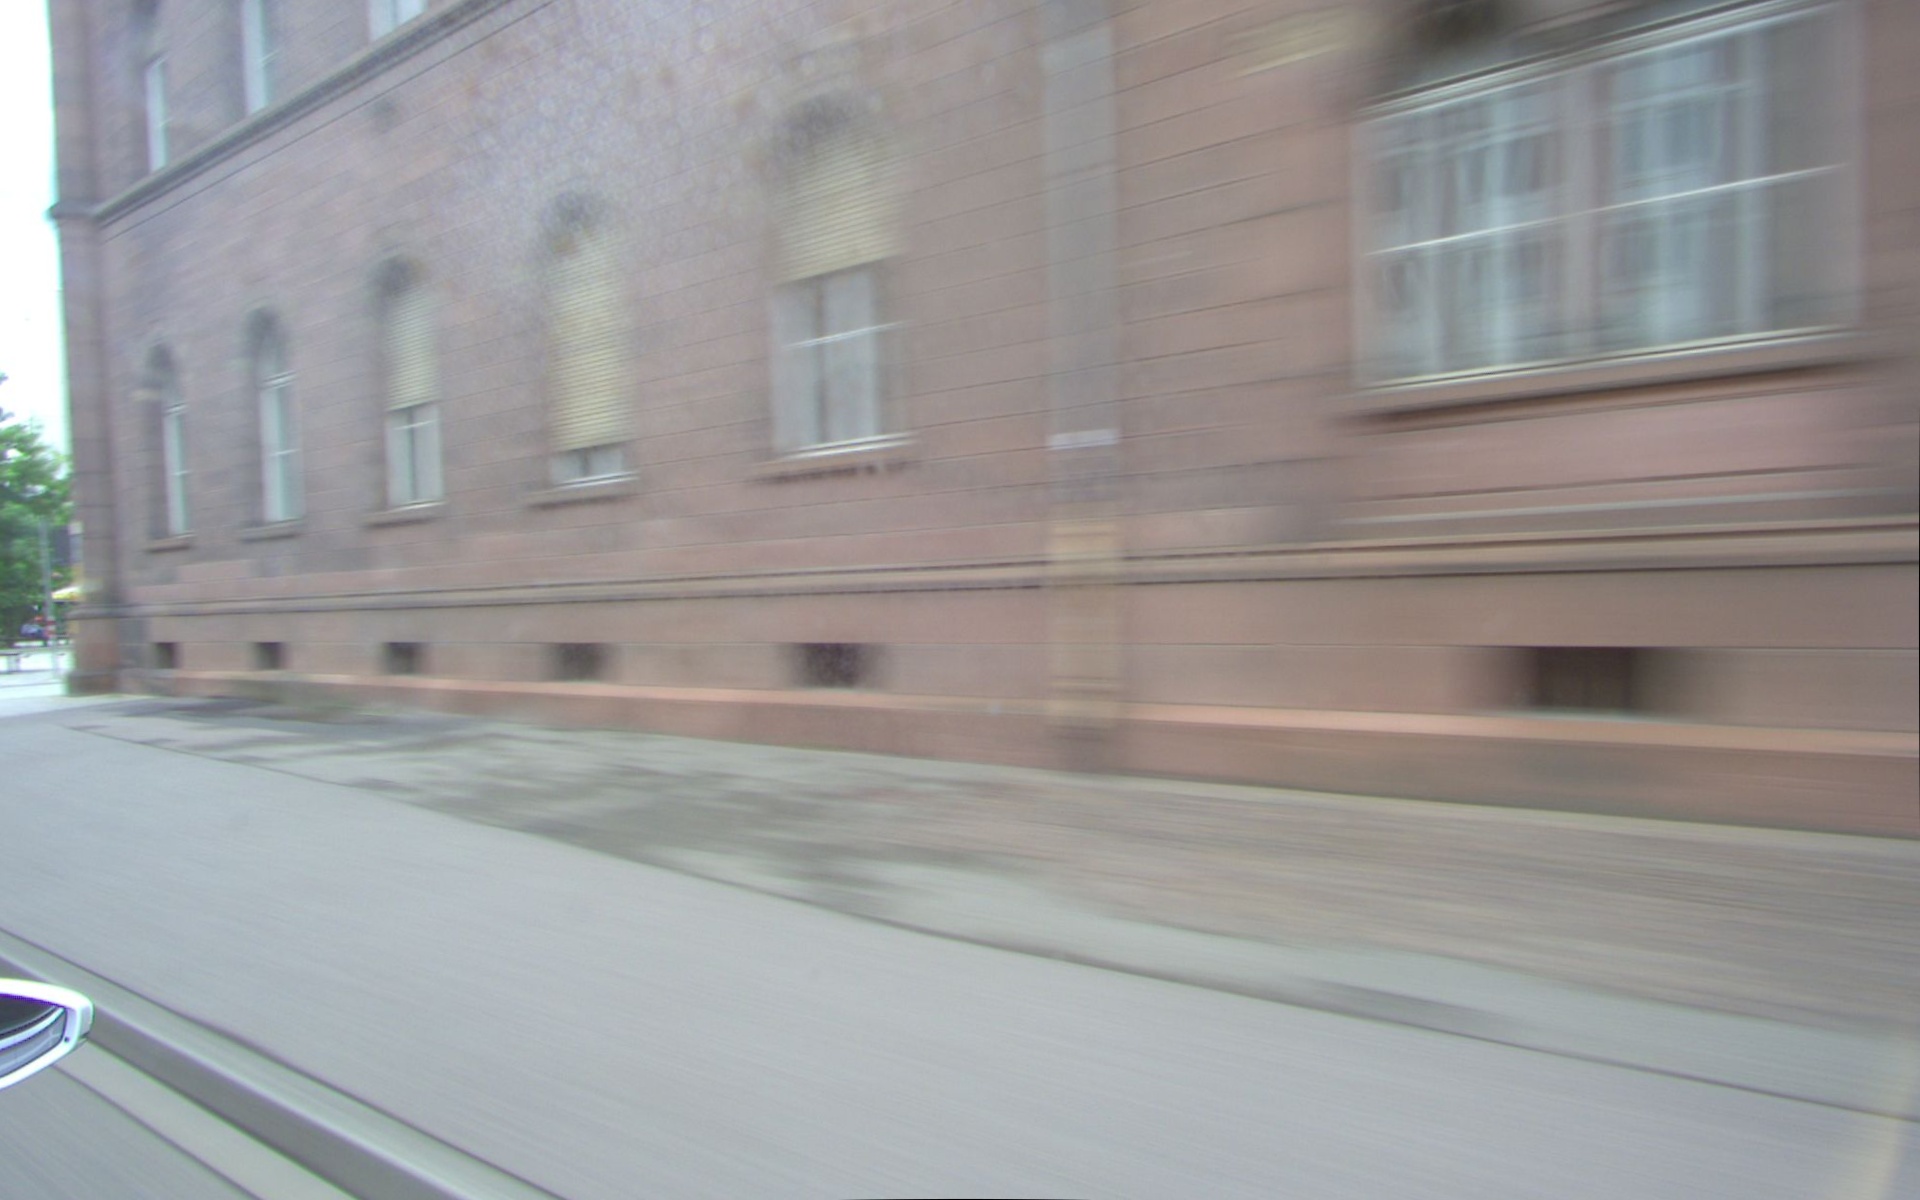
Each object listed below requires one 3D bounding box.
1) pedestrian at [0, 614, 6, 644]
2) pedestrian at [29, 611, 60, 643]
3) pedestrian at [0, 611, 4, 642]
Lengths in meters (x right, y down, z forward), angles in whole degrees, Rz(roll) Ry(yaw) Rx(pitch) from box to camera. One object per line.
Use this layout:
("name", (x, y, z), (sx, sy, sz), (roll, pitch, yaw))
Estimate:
("pedestrian", (-44.360, 1.346, 46.086), (0.538, 1.384, 1.269), (-1, 0, -40))
("pedestrian", (-40.978, 1.205, 44.802), (1.389, 1.384, 0.627), (-1, 0, 31))
("pedestrian", (-50.766, 1.339, 52.351), (1.062, 1.827, 0.711), (-2, 4, 31))
